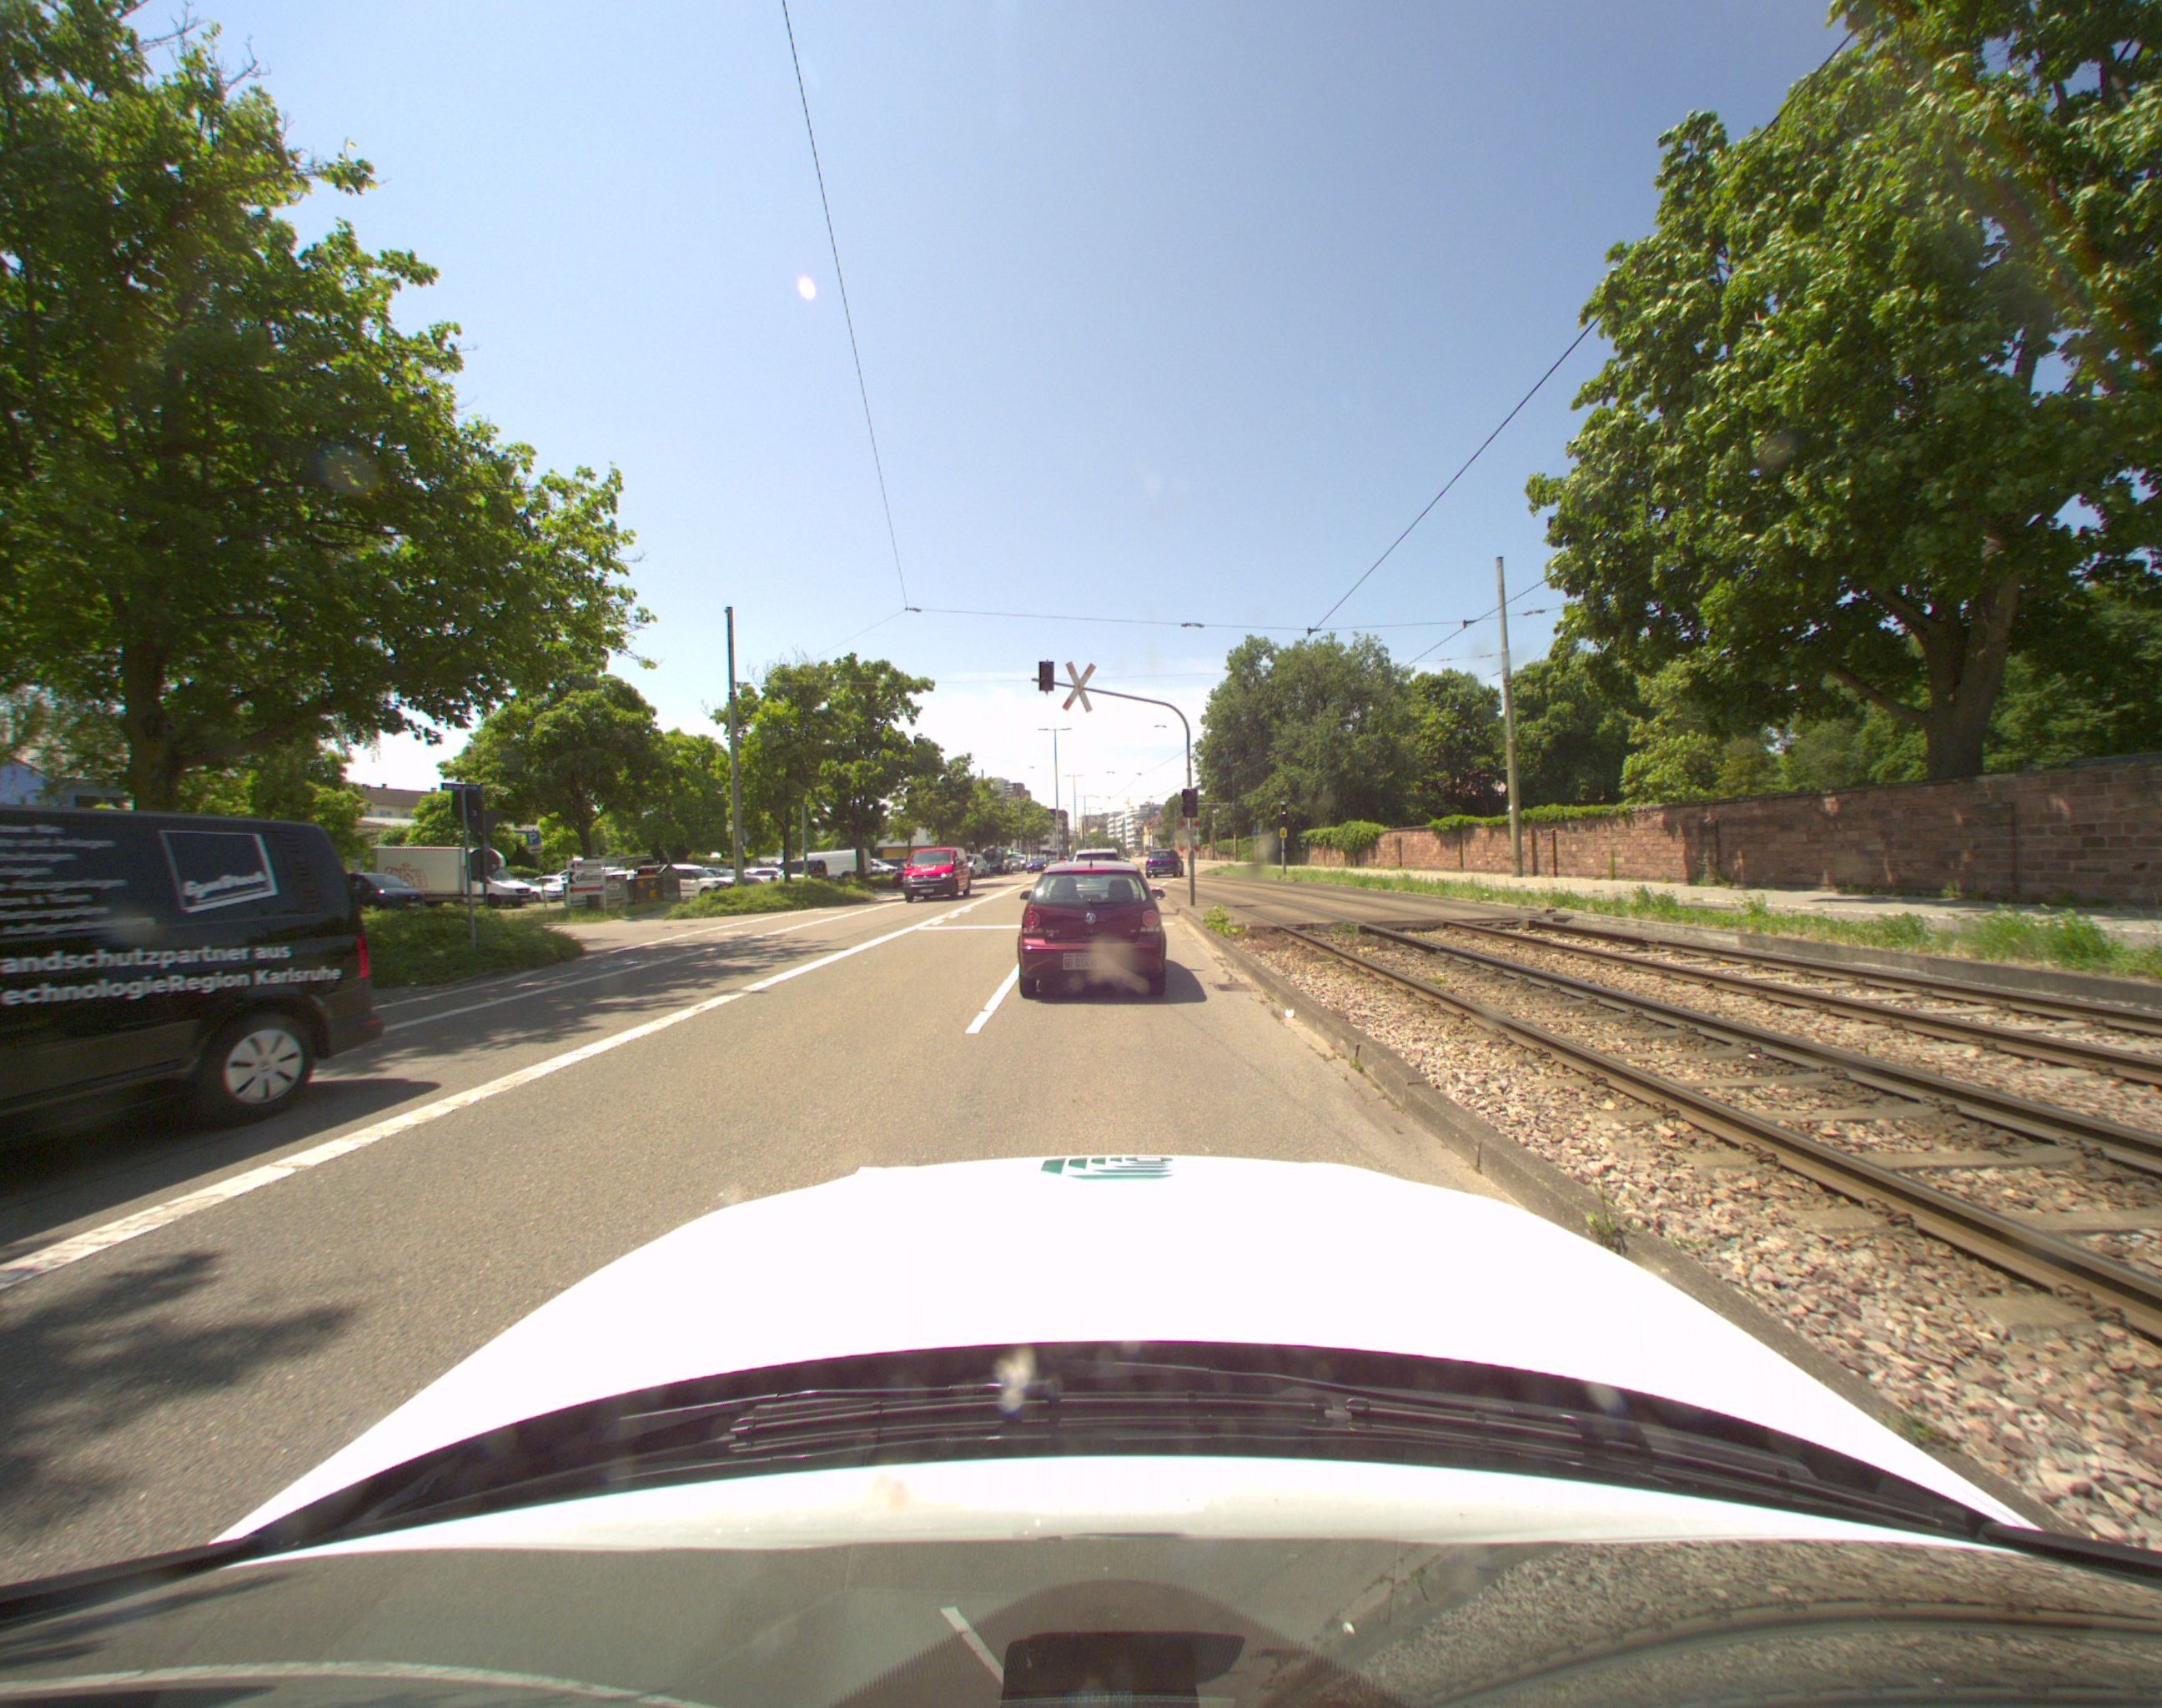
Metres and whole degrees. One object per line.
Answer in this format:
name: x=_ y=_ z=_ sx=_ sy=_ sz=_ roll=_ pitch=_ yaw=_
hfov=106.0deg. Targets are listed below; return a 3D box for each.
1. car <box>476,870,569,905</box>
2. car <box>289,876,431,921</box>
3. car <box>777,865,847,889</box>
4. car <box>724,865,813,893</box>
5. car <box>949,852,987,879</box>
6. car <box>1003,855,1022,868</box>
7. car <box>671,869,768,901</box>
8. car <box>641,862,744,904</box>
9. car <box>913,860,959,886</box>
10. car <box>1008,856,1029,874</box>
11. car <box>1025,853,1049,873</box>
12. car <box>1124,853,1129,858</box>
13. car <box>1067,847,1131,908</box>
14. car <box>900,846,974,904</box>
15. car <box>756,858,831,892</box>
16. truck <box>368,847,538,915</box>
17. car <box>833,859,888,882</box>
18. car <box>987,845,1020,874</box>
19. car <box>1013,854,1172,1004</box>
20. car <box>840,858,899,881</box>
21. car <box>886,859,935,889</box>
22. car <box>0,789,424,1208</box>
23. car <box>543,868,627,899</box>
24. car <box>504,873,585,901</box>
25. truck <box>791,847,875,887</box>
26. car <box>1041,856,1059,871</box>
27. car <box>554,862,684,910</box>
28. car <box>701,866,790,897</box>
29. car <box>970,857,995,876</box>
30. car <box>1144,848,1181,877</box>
car: x=-32.055 y=1.912 z=46.814 sx=4.113 sy=1.820 sz=1.647 roll=-2 pitch=0 yaw=0
car: x=-32.161 y=1.961 z=36.415 sx=4.687 sy=1.820 sz=1.942 roll=-2 pitch=0 yaw=3
car: x=-18.710 y=1.573 z=56.701 sx=4.196 sy=1.411 sz=1.856 roll=-2 pitch=0 yaw=-1
car: x=-19.712 y=1.569 z=51.529 sx=4.746 sy=1.488 sz=2.058 roll=-2 pitch=0 yaw=-1
car: x=-8.617 y=0.859 z=62.395 sx=1.854 sy=1.937 sz=4.810 roll=1 pitch=0 yaw=4
car: x=-7.722 y=0.835 z=92.054 sx=1.624 sy=1.420 sz=3.871 roll=0 pitch=0 yaw=4
car: x=-19.255 y=1.634 z=43.546 sx=4.186 sy=1.403 sz=2.079 roll=-2 pitch=0 yaw=-3
car: x=-19.303 y=1.427 z=40.594 sx=4.248 sy=1.835 sz=1.675 roll=-2 pitch=0 yaw=3
car: x=-9.021 y=1.161 z=51.089 sx=1.711 sy=1.427 sz=4.775 roll=-4 pitch=0 yaw=4
car: x=-7.465 y=1.293 z=97.804 sx=1.868 sy=1.965 sz=5.166 roll=1 pitch=0 yaw=2
car: x=-3.914 y=0.774 z=72.642 sx=1.731 sy=1.656 sz=4.068 roll=-3 pitch=0 yaw=1
car: x=12.288 y=0.445 z=219.474 sx=1.348 sy=1.252 sz=2.973 roll=-1 pitch=0 yaw=2
car: x=0.550 y=0.664 z=25.031 sx=1.789 sy=1.683 sz=4.001 roll=-1 pitch=0 yaw=1
car: x=-5.389 y=0.743 z=31.085 sx=1.893 sy=1.926 sz=4.819 roll=-3 pitch=0 yaw=0
car: x=-19.140 y=1.386 z=54.312 sx=4.196 sy=1.995 sz=1.856 roll=-2 pitch=0 yaw=-1
truck: x=-32.260 y=1.353 z=41.973 sx=6.955 sy=3.227 sz=2.150 roll=-2 pitch=0 yaw=-1
car: x=-18.988 y=1.435 z=70.207 sx=4.196 sy=1.765 sz=1.856 roll=-2 pitch=0 yaw=-1
car: x=-7.475 y=0.513 z=78.859 sx=2.389 sy=2.656 sz=6.175 roll=1 pitch=0 yaw=1
car: x=0.157 y=0.765 z=10.312 sx=1.604 sy=1.498 sz=4.001 roll=-1 pitch=0 yaw=1
car: x=-18.867 y=1.412 z=72.856 sx=4.703 sy=1.813 sz=1.796 roll=-2 pitch=0 yaw=-1
car: x=-9.383 y=1.059 z=45.053 sx=1.664 sy=1.546 sz=3.730 roll=-1 pitch=-1 yaw=4
car: x=-5.914 y=0.708 z=3.749 sx=1.911 sy=1.910 sz=4.572 roll=-3 pitch=0 yaw=1
car: x=-31.713 y=1.885 z=52.154 sx=4.113 sy=1.820 sz=1.971 roll=-2 pitch=0 yaw=0
car: x=-32.670 y=2.001 z=49.680 sx=3.734 sy=1.576 sz=1.733 roll=-2 pitch=0 yaw=0
truck: x=-18.904 y=0.948 z=62.303 sx=5.556 sy=2.759 sz=2.433 roll=-2 pitch=0 yaw=2
car: x=-3.464 y=1.038 z=90.903 sx=1.731 sy=1.575 sz=3.714 roll=-3 pitch=0 yaw=1
car: x=-20.236 y=1.361 z=35.825 sx=4.437 sy=1.857 sz=2.059 roll=-2 pitch=0 yaw=-3
car: x=-18.869 y=1.560 z=45.944 sx=4.104 sy=1.508 sz=1.934 roll=-2 pitch=0 yaw=3
car: x=-8.166 y=1.030 z=67.630 sx=1.400 sy=1.440 sz=3.841 roll=1 pitch=0 yaw=2
car: x=4.849 y=0.486 z=48.026 sx=1.762 sy=1.630 sz=4.013 roll=-1 pitch=0 yaw=11
